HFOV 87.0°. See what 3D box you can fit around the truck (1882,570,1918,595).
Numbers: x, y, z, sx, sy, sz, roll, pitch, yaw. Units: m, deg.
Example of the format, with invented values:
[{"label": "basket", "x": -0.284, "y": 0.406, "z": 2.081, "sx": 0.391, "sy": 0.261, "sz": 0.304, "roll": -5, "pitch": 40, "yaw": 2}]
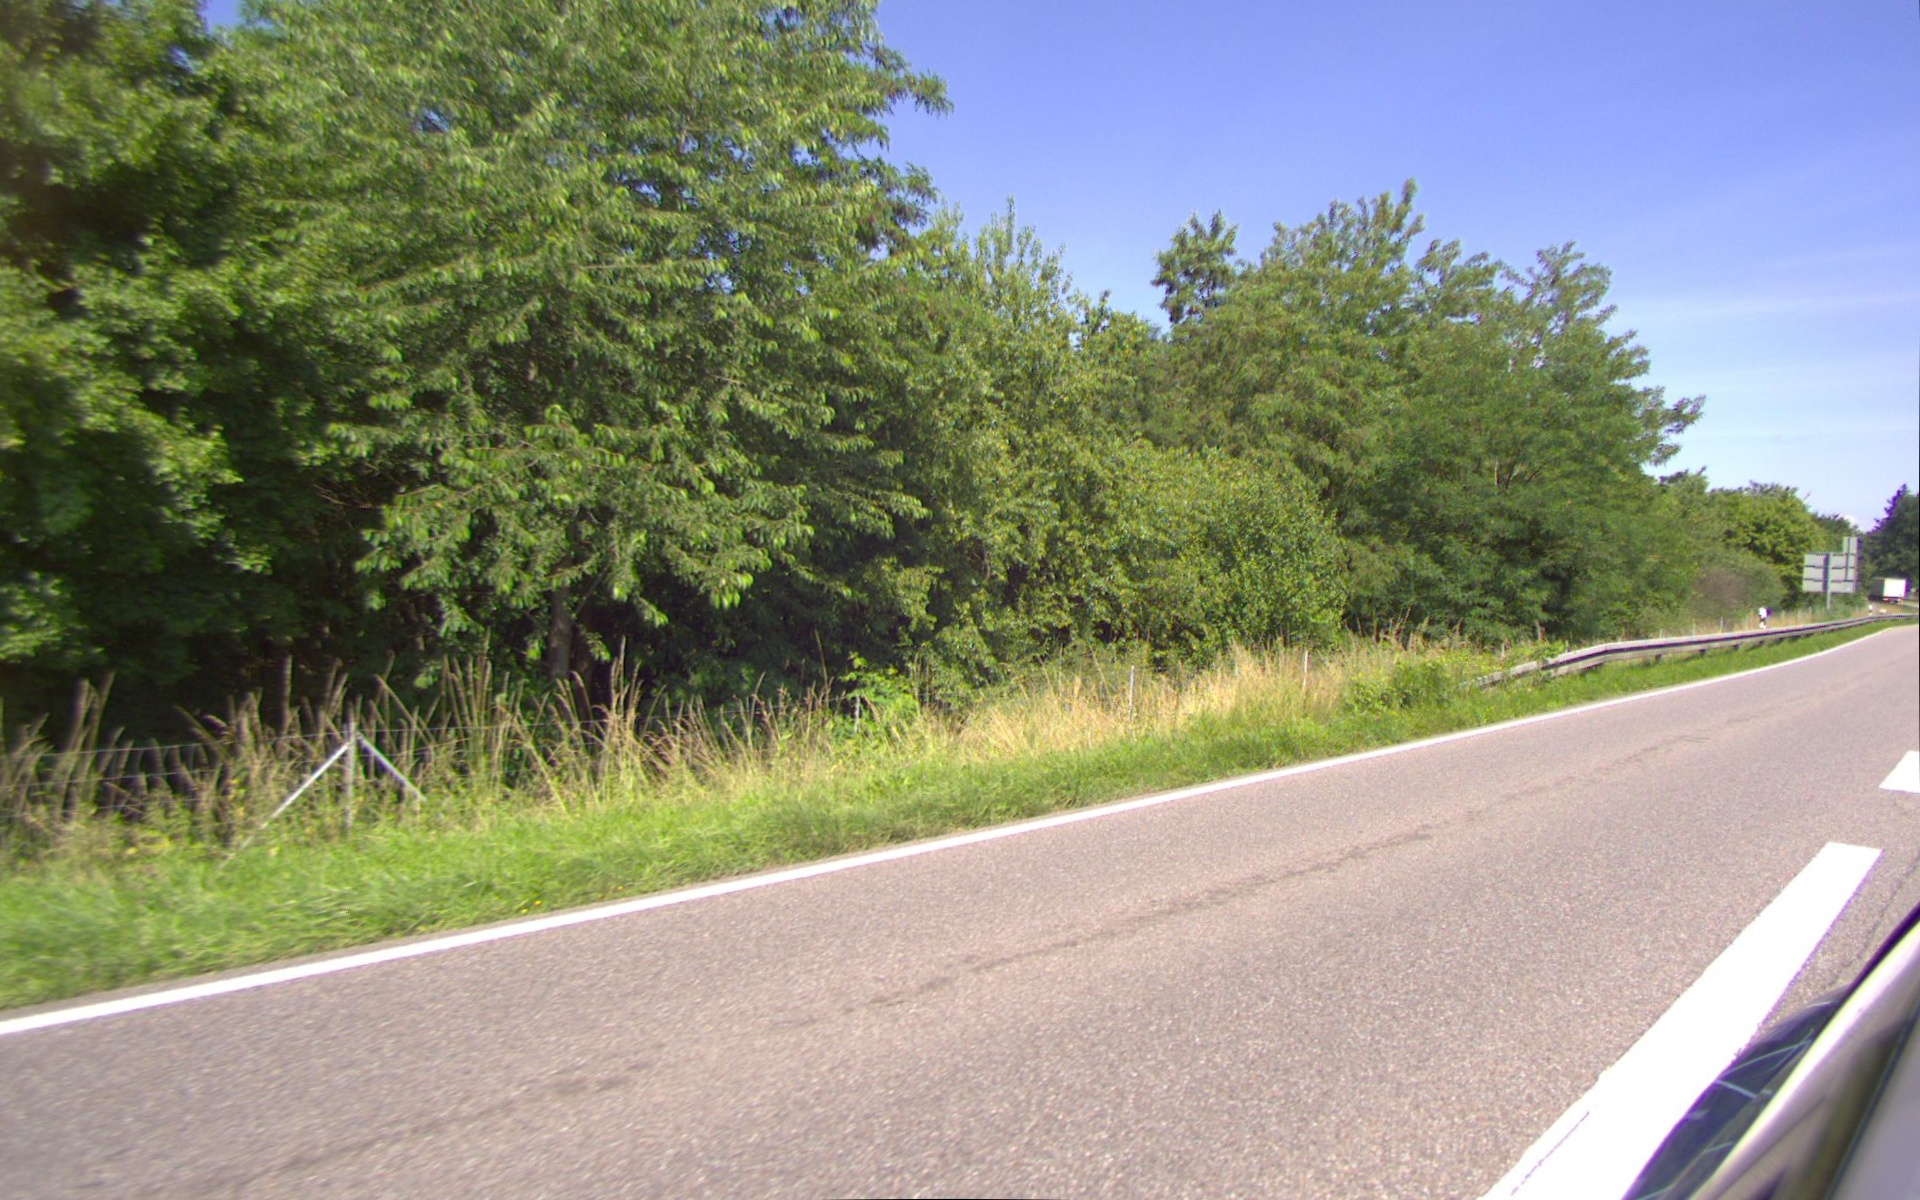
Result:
[{"label": "truck", "x": 158.138, "y": -2.909, "z": 170.368, "sx": 2.775, "sy": 3.924, "sz": 13.963, "roll": 1, "pitch": 1, "yaw": 36}]
